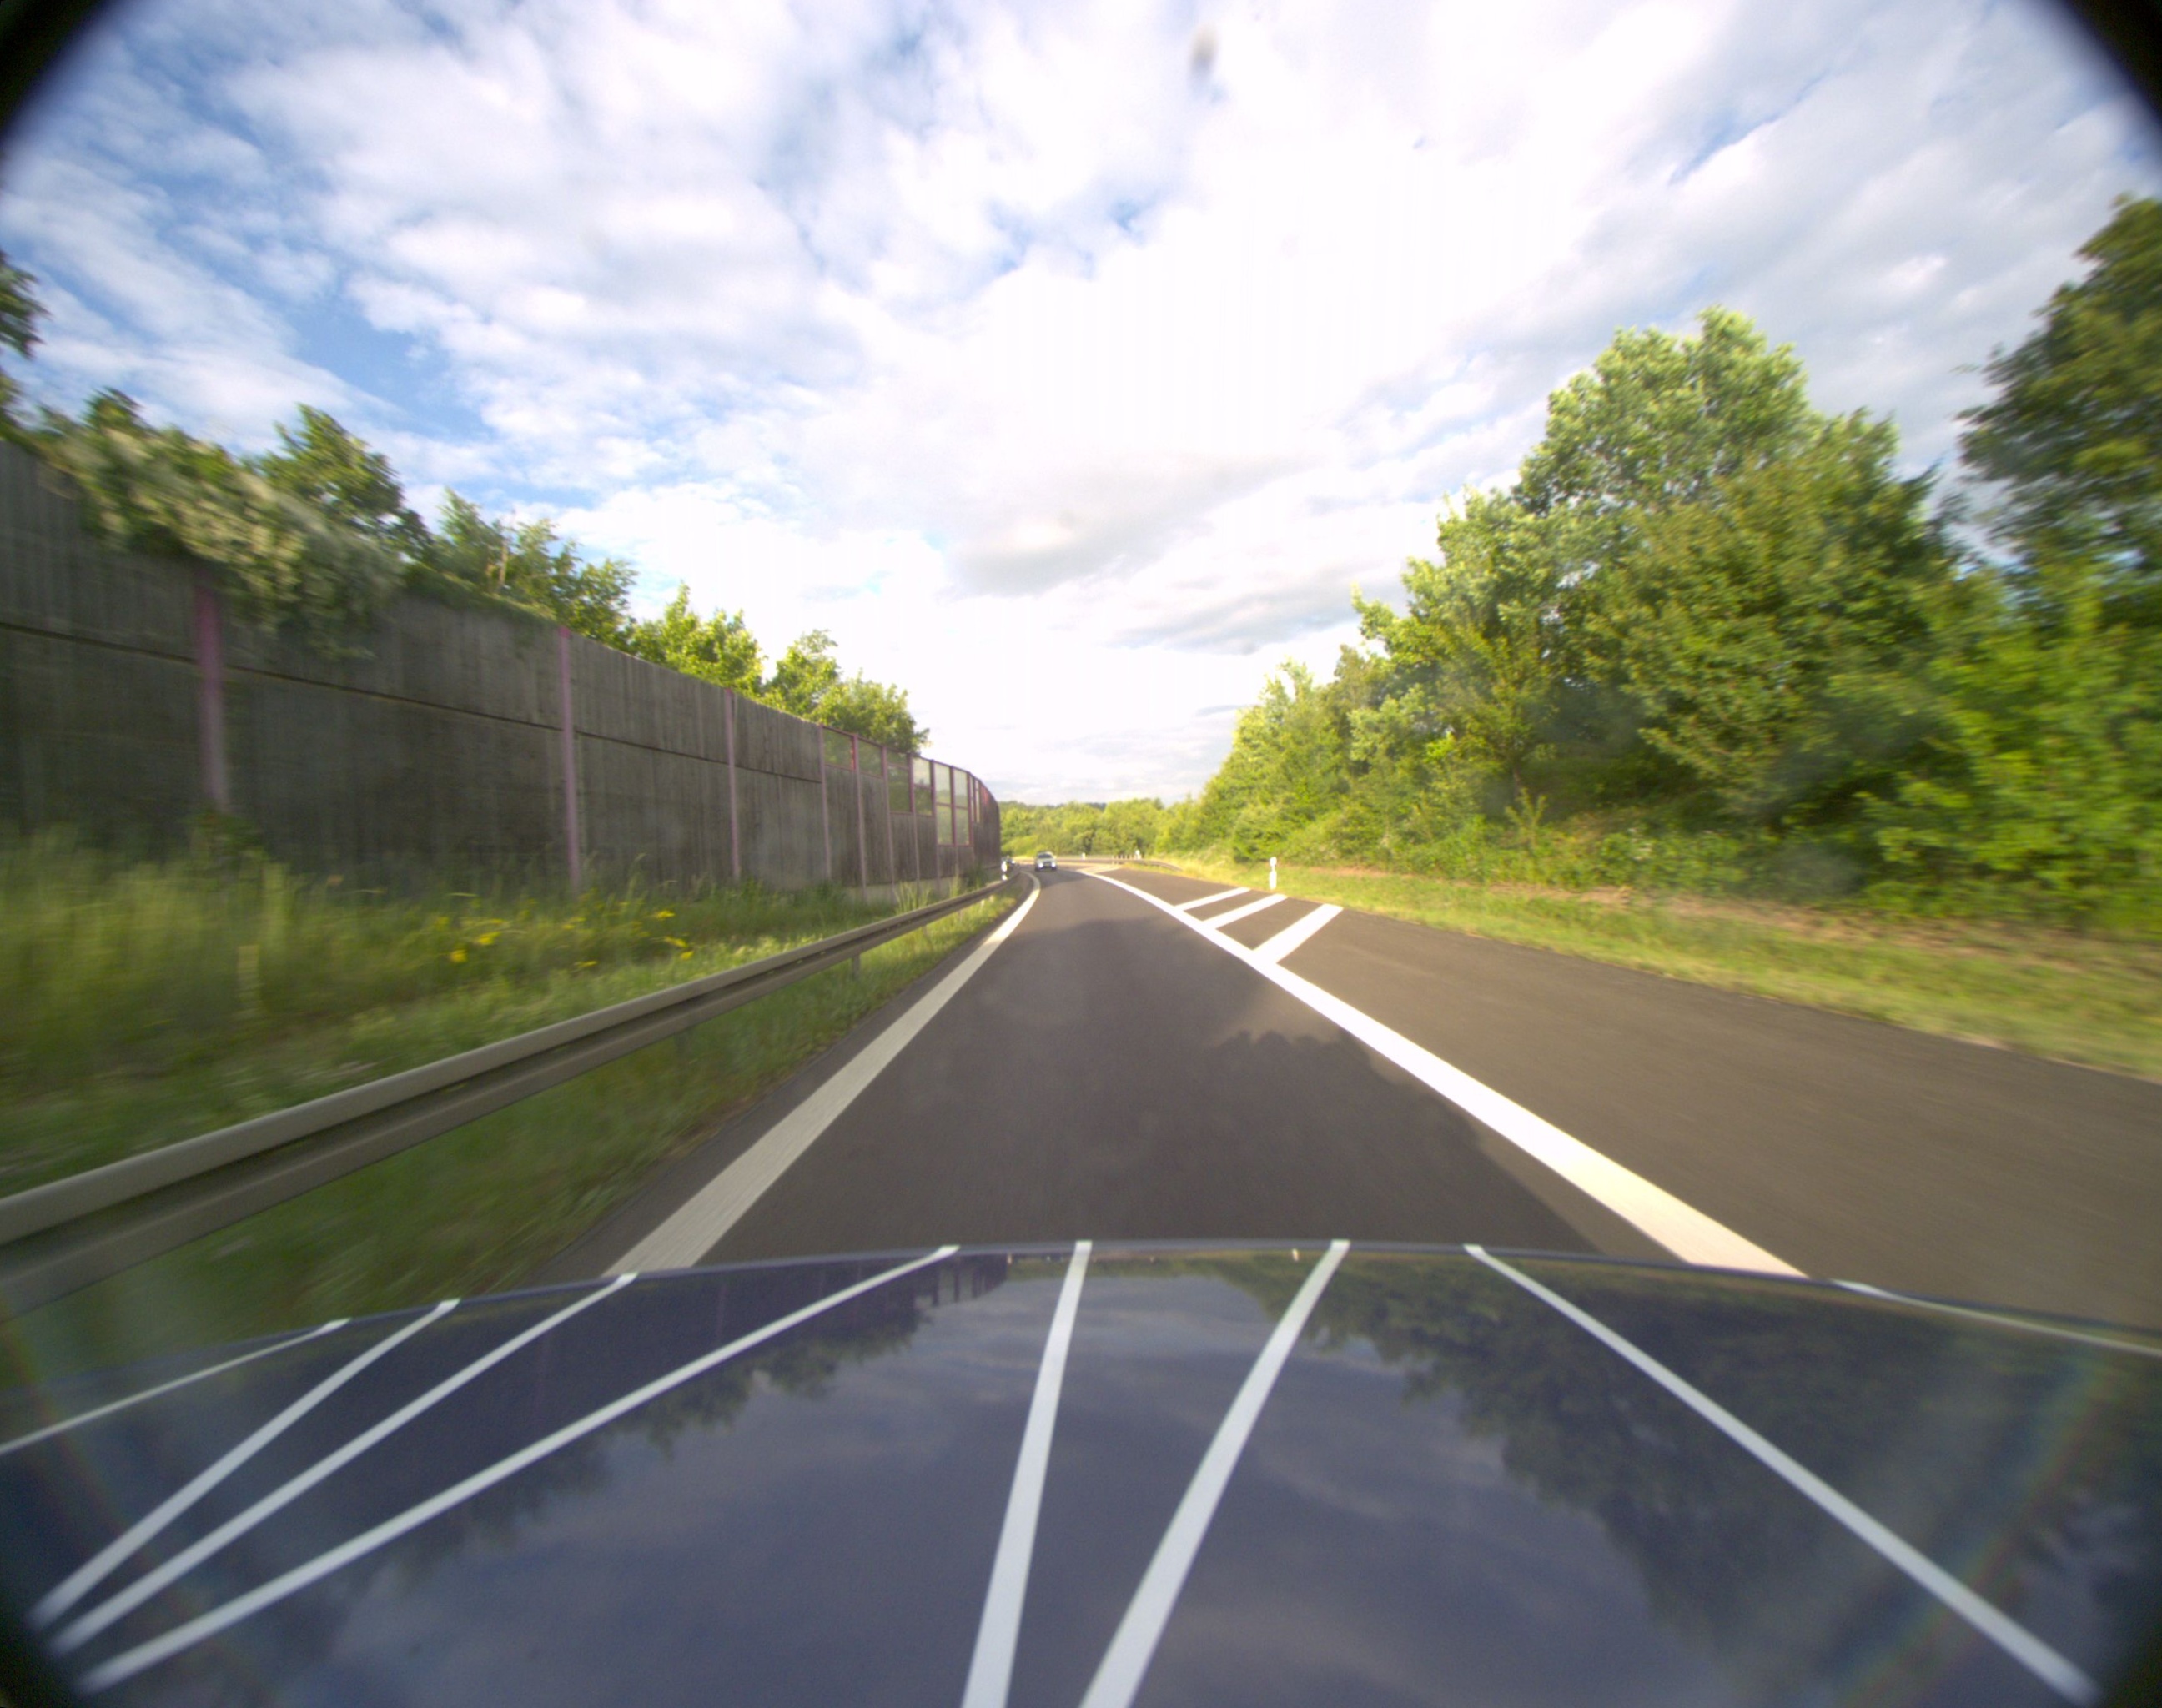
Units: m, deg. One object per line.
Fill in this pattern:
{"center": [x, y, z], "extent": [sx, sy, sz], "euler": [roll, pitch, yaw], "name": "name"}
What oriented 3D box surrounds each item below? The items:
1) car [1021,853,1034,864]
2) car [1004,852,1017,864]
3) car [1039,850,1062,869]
{"center": [-8.142, 0.729, 115.419], "extent": [1.621, 1.452, 3.659], "euler": [-4, 2, -8], "name": "car"}
{"center": [-10.675, 0.594, 115.535], "extent": [1.808, 1.707, 3.997], "euler": [-2, 0, -7], "name": "car"}
{"center": [-2.966, 0.537, 73.780], "extent": [1.905, 1.655, 4.000], "euler": [-4, 0, 1], "name": "car"}
